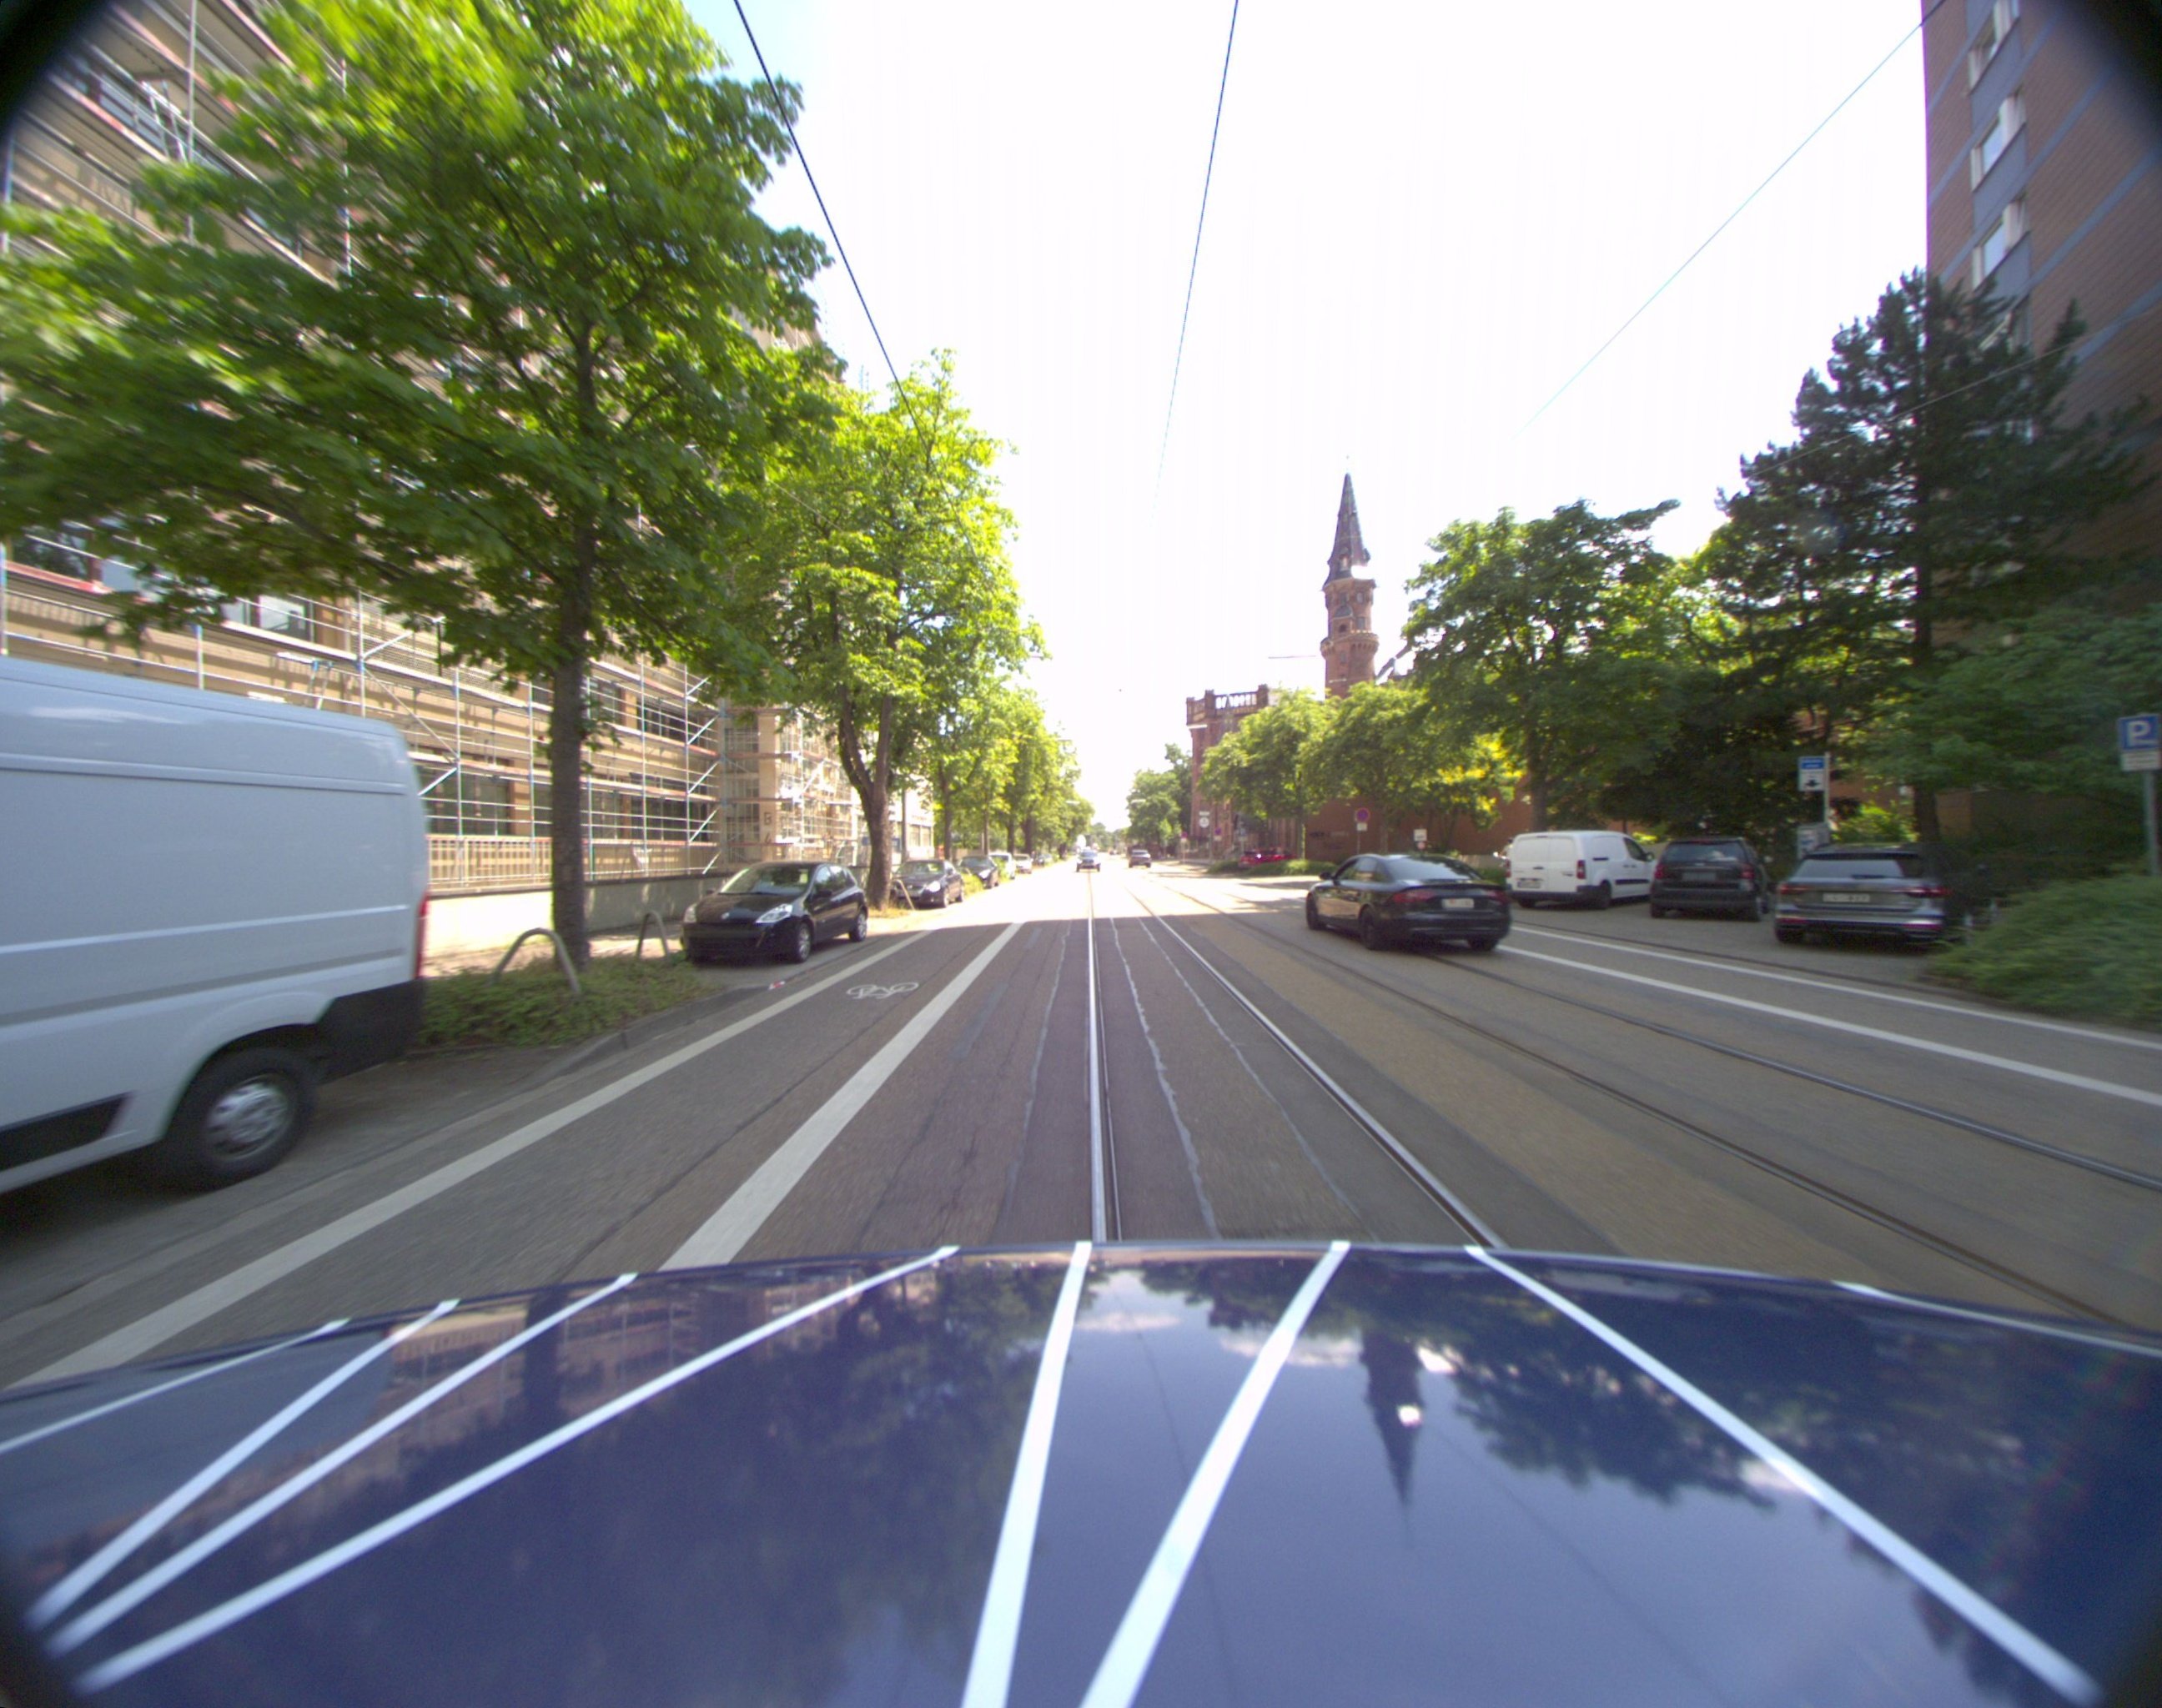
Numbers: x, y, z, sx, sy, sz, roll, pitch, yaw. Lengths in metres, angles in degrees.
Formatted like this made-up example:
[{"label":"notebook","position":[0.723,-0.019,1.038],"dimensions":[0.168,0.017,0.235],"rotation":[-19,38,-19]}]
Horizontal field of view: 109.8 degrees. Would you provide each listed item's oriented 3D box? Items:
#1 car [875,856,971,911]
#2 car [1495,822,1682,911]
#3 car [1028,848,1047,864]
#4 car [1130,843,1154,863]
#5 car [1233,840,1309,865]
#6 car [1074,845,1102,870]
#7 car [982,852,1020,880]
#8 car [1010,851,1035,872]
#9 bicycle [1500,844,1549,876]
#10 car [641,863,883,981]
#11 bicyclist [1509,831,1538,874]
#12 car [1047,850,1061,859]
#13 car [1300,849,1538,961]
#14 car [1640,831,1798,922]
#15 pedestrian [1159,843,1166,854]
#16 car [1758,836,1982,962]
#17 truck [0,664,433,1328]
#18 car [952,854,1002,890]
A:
[{"label":"car","position":[-4.669,0.820,23.165],"dimensions":[1.829,1.463,4.486],"rotation":[-1,1,2]},{"label":"car","position":[11.940,0.218,17.798],"dimensions":[4.555,1.781,1.896],"rotation":[-2,1,-32]},{"label":"car","position":[-4.283,0.158,75.638],"dimensions":[1.675,1.481,3.980],"rotation":[-1,1,0]},{"label":"car","position":[5.415,-0.115,67.637],"dimensions":[1.835,1.671,4.184],"rotation":[0,1,1]},{"label":"car","position":[12.634,-0.129,50.520],"dimensions":[4.787,1.557,1.997],"rotation":[-2,1,-28]},{"label":"car","position":[0.521,0.247,57.342],"dimensions":[1.998,1.732,4.226],"rotation":[-2,1,0]},{"label":"car","position":[-4.517,0.645,43.397],"dimensions":[1.675,1.509,4.201],"rotation":[-1,1,0]},{"label":"car","position":[-4.284,0.526,55.968],"dimensions":[1.676,1.490,4.364],"rotation":[-1,1,-3]},{"label":"bicycle","position":[15.389,0.195,26.410],"dimensions":[0.519,1.041,1.876],"rotation":[-2,1,-2]},{"label":"car","position":[-4.814,0.929,12.281],"dimensions":[1.828,1.463,4.400],"rotation":[-1,1,3]},{"label":"bicyclist","position":[15.376,-0.052,26.411],"dimensions":[0.482,1.473,0.780],"rotation":[-2,1,-1]},{"label":"car","position":[-3.729,0.072,106.446],"dimensions":[1.756,1.263,3.833],"rotation":[-2,1,1]},{"label":"car","position":[4.917,0.635,11.805],"dimensions":[1.779,1.389,4.286],"rotation":[-1,1,0]},{"label":"car","position":[12.654,0.364,14.996],"dimensions":[3.958,1.523,1.767],"rotation":[-3,1,-41]},{"label":"pedestrian","position":[11.672,-0.782,108.705],"dimensions":[0.801,1.579,0.919],"rotation":[-4,1,0]},{"label":"car","position":[11.489,0.511,10.967],"dimensions":[4.455,1.386,1.768],"rotation":[-3,1,-38]},{"label":"truck","position":[-5.031,0.546,1.727],"dimensions":[2.020,2.474,5.954],"rotation":[-1,1,-1]},{"label":"car","position":[-4.506,0.736,33.443],"dimensions":[1.675,1.429,4.041],"rotation":[-1,1,0]}]
